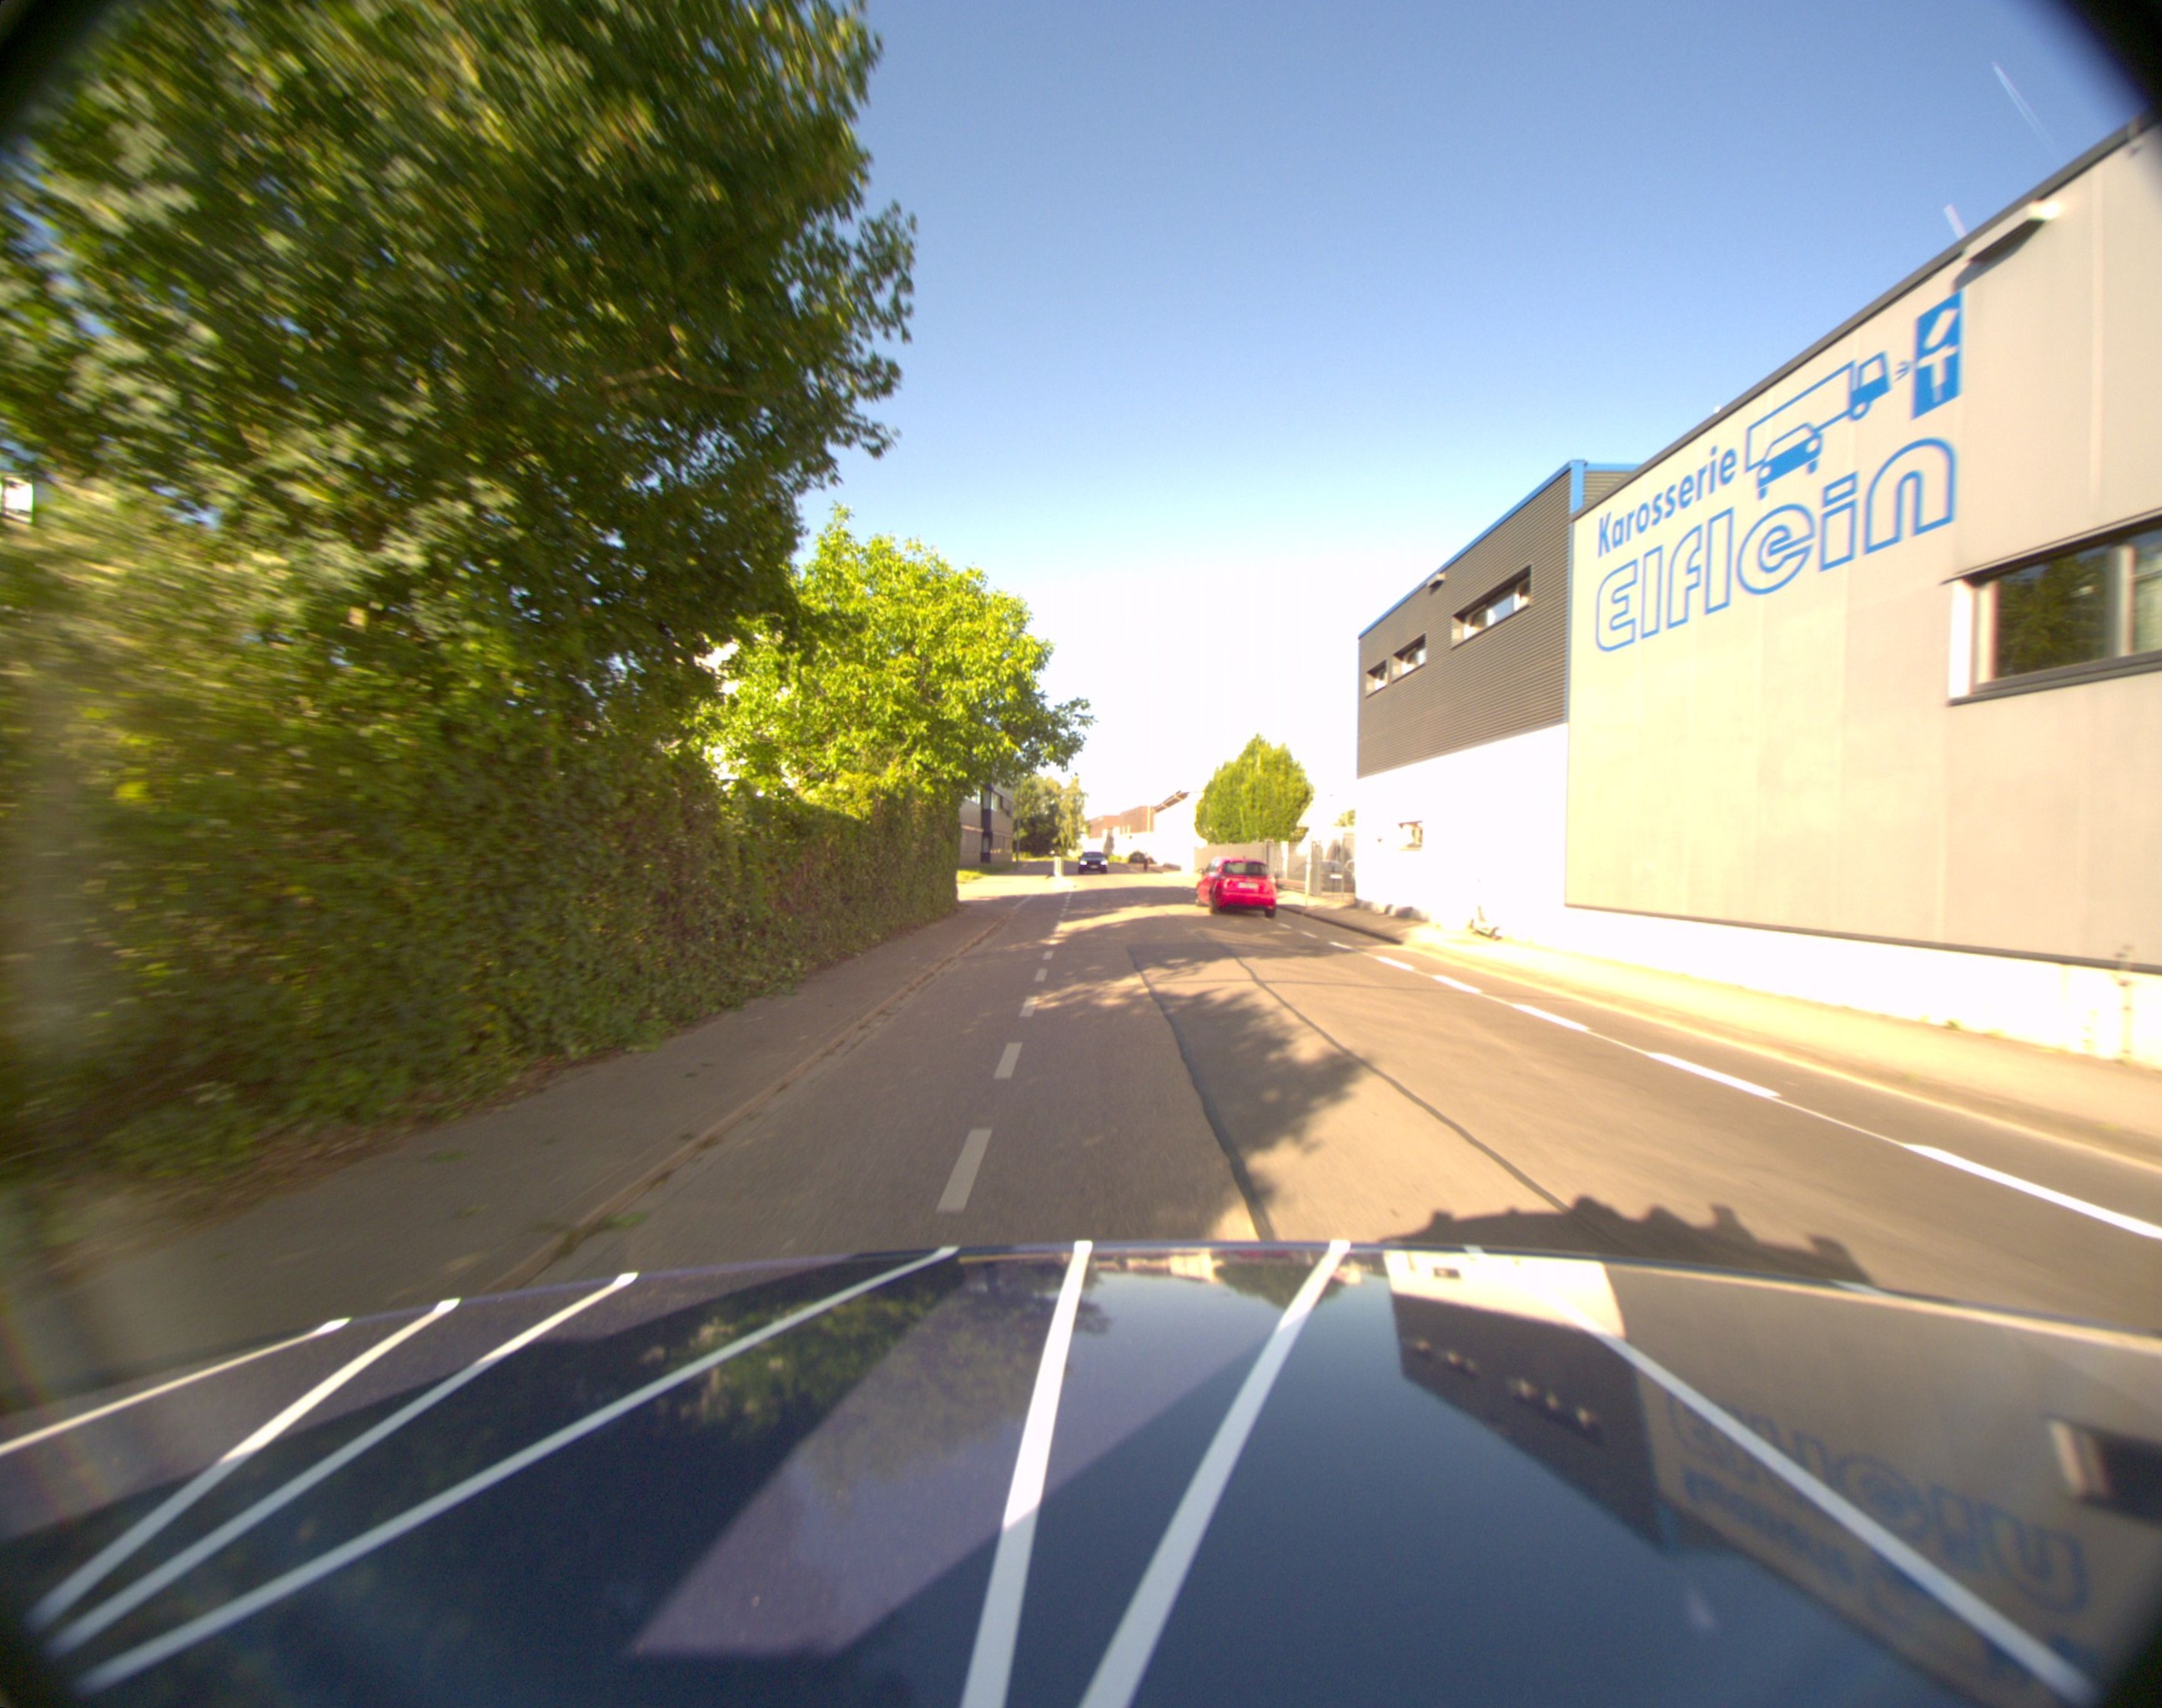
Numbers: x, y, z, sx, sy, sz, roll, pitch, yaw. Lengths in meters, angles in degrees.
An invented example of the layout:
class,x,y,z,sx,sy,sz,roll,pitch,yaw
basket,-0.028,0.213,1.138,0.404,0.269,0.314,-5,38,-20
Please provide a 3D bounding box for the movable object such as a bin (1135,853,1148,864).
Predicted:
class,x,y,z,sx,sy,sz,roll,pitch,yaw
movable object such as a bin,7.722,0.575,97.588,1.365,1.463,1.288,1,1,-11

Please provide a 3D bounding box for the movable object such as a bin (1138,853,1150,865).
class,x,y,z,sx,sy,sz,roll,pitch,yaw
movable object such as a bin,7.981,0.587,96.229,1.203,1.463,1.371,1,1,-11

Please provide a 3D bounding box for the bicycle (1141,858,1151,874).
class,x,y,z,sx,sy,sz,roll,pitch,yaw
bicycle,5.627,1.015,65.924,0.669,1.281,2.172,2,0,-1

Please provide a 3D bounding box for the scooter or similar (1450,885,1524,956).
class,x,y,z,sx,sy,sz,roll,pitch,yaw
scooter or similar,7.803,1.249,14.688,0.508,1.196,1.753,-2,1,1

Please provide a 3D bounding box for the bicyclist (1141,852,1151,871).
class,x,y,z,sx,sy,sz,roll,pitch,yaw
bicyclist,5.625,0.629,65.924,0.748,1.619,0.833,2,1,-1

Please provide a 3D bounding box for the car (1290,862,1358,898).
class,x,y,z,sx,sy,sz,roll,pitch,yaw
car,11.753,1.217,37.030,1.874,1.531,3.999,2,0,-1

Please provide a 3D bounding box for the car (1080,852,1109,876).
class,x,y,z,sx,sy,sz,roll,pitch,yaw
car,0.984,0.696,54.916,2.037,1.623,4.613,0,1,1

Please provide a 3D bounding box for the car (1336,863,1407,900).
class,x,y,z,sx,sy,sz,roll,pitch,yaw
car,14.318,1.311,37.647,1.874,1.597,3.999,2,0,-1

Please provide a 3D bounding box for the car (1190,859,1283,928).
class,x,y,z,sx,sy,sz,roll,pitch,yaw
car,4.219,1.015,21.242,1.724,1.531,4.075,4,1,1
